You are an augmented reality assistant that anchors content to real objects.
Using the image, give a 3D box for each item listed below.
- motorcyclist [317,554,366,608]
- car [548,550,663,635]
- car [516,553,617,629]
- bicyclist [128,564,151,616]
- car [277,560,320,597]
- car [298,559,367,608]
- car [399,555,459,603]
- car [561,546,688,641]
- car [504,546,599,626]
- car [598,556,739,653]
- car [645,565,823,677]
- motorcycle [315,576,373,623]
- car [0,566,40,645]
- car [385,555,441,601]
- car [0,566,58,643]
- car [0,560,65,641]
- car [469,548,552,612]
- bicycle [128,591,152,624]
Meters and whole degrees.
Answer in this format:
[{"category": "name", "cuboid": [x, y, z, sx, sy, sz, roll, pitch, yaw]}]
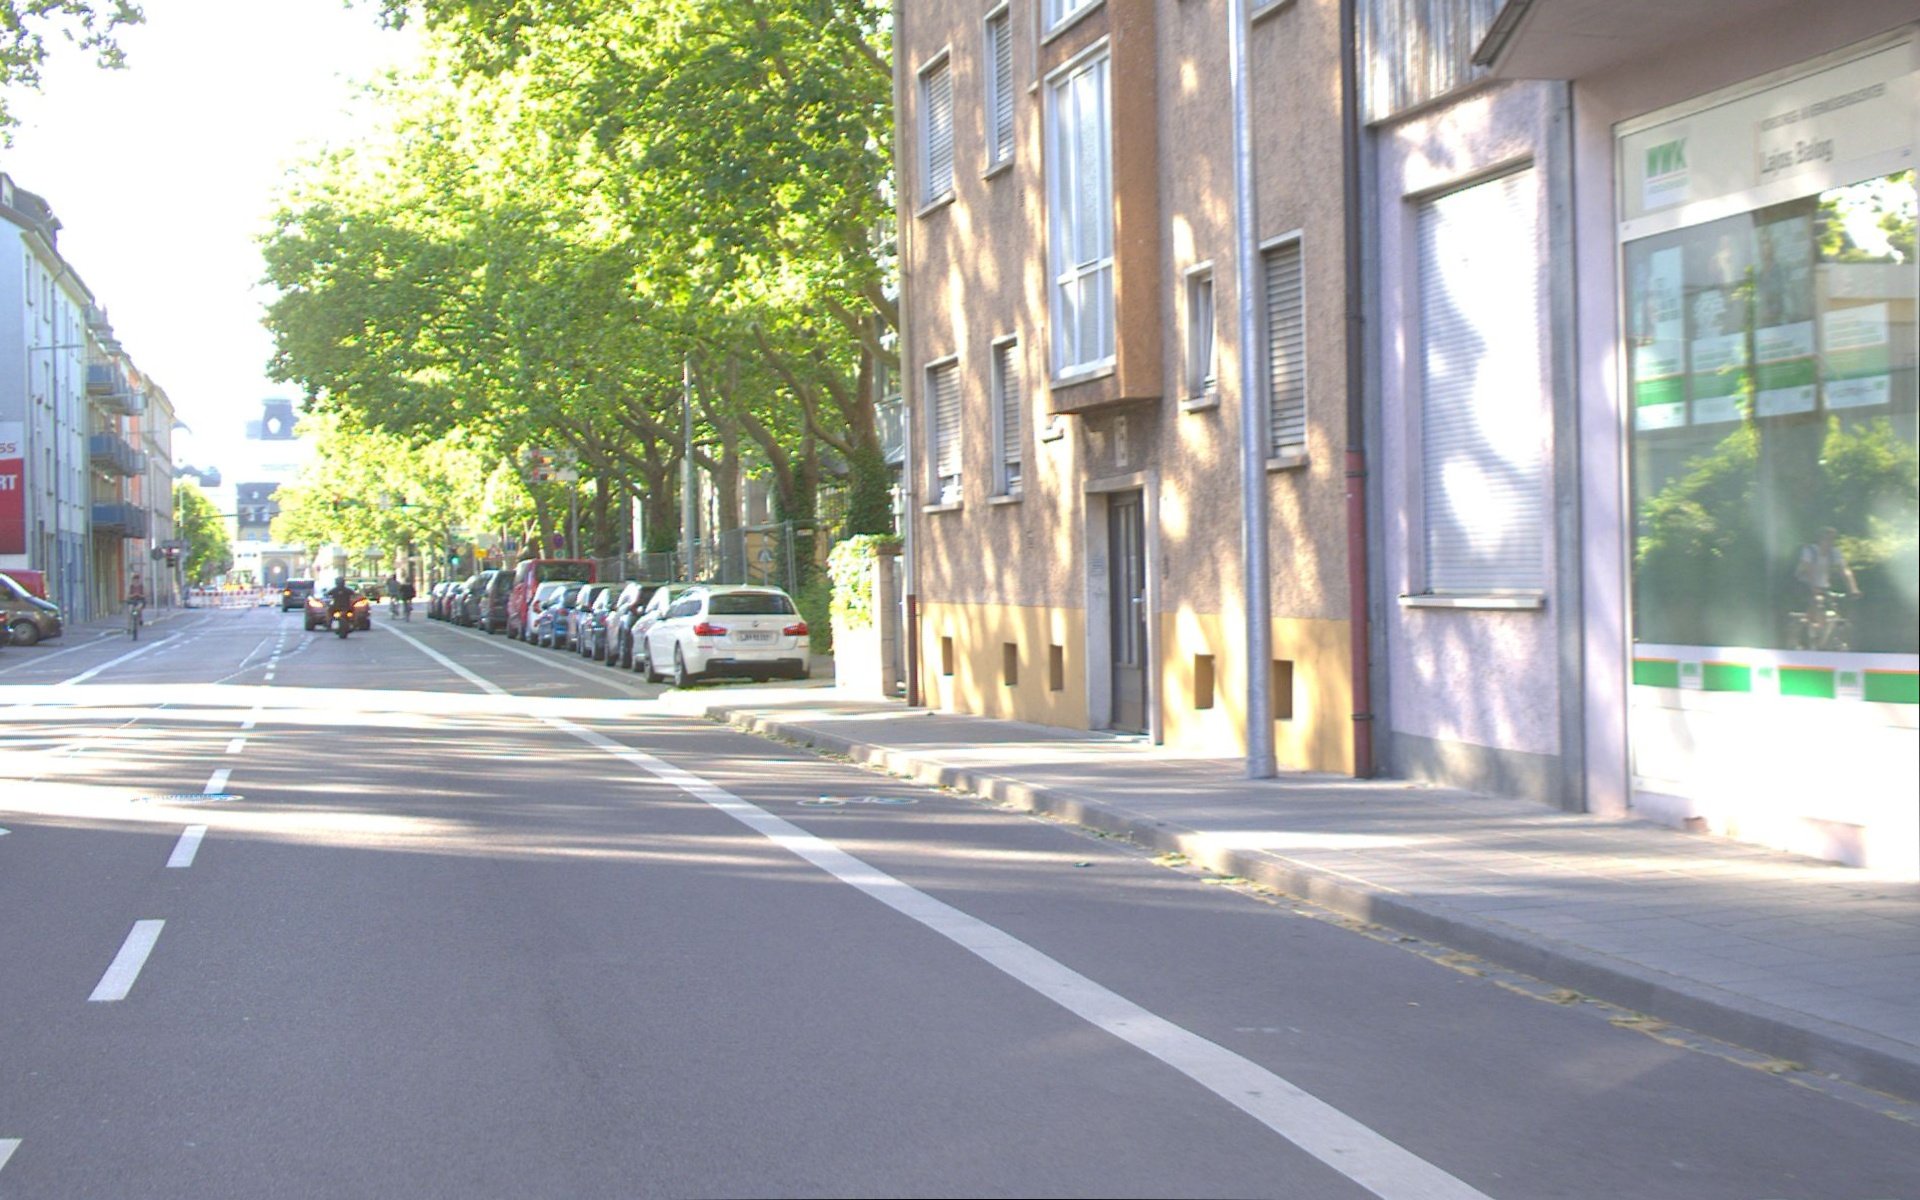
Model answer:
[{"category": "motorcyclist", "cuboid": [-15.652, -0.489, 86.983, 0.970, 1.342, 1.138, 0, 1, -23]}, {"category": "car", "cuboid": [-7.516, -0.174, 72.644, 2.032, 1.713, 4.095, -1, 1, -11]}, {"category": "car", "cuboid": [-9.348, -0.227, 81.407, 2.032, 1.713, 4.095, -1, 1, -11]}, {"category": "bicyclist", "cuboid": [-22.041, -0.262, 92.329, 0.541, 1.389, 0.509, -1, 1, -16]}, {"category": "car", "cuboid": [-32.466, -1.078, 168.704, 2.032, 1.736, 4.095, -1, 1, -11]}, {"category": "car", "cuboid": [-18.478, -0.493, 101.161, 1.923, 1.384, 4.001, -1, 1, -11]}, {"category": "car", "cuboid": [-19.806, -0.783, 128.191, 2.032, 1.736, 4.095, -1, 1, -11]}, {"category": "car", "cuboid": [-6.529, -0.142, 66.582, 2.032, 1.753, 4.095, -1, 1, -11]}, {"category": "car", "cuboid": [-10.195, -0.366, 85.569, 2.032, 1.927, 4.095, -1, 1, -11]}, {"category": "car", "cuboid": [-5.196, 0.054, 60.826, 2.032, 1.611, 4.095, -1, 1, -11]}, {"category": "car", "cuboid": [-3.306, 0.268, 49.543, 2.032, 1.499, 4.095, -1, 1, -11]}, {"category": "motorcycle", "cuboid": [-15.587, -0.014, 86.951, 0.973, 1.128, 2.806, 0, 1, -20]}, {"category": "car", "cuboid": [-20.954, 0.131, 70.416, 3.986, 1.590, 2.001, -1, 1, -13]}, {"category": "car", "cuboid": [-21.653, -0.885, 136.038, 2.032, 1.736, 4.095, -1, 1, -11]}, {"category": "car", "cuboid": [-21.282, 0.112, 73.075, 3.986, 1.590, 2.001, -1, 1, -13]}, {"category": "car", "cuboid": [-21.797, 0.016, 75.632, 3.986, 1.737, 2.001, -1, 1, -13]}, {"category": "car", "cuboid": [-12.697, -0.572, 96.875, 2.032, 1.736, 4.095, -1, 1, -11]}, {"category": "bicycle", "cuboid": [-22.012, 0.200, 92.264, 0.541, 0.840, 1.605, -1, 1, -16]}]
